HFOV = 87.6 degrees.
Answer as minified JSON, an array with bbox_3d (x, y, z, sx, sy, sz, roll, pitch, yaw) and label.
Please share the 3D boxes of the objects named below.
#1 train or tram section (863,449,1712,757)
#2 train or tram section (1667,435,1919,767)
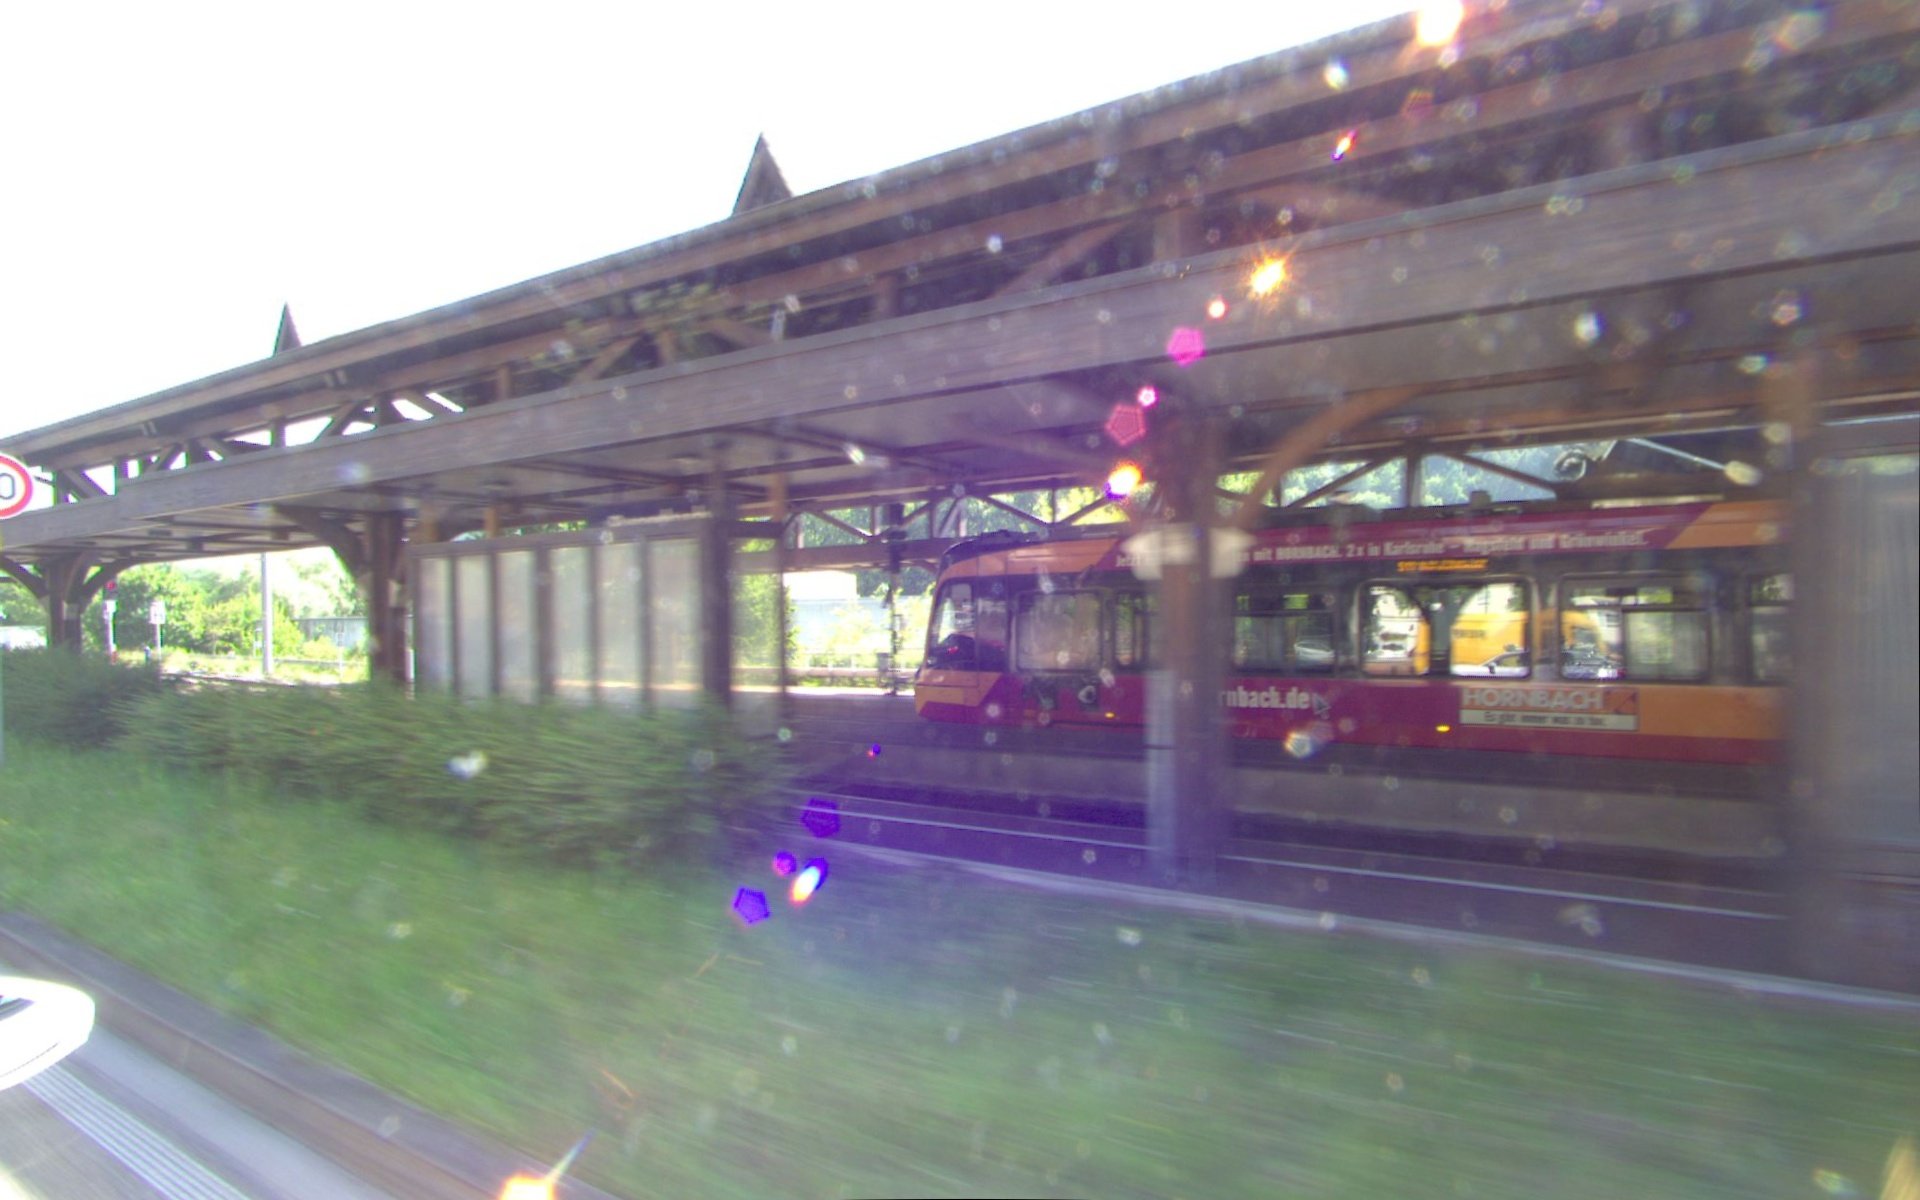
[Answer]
[{"bbox_3d":[4.050,0.103,15.475,11.876,3.406,2.751,0,-2,33],"label":"train or tram section"},{"bbox_3d":[14.025,0.011,9.371,11.872,3.406,2.783,-1,-3,31],"label":"train or tram section"}]
